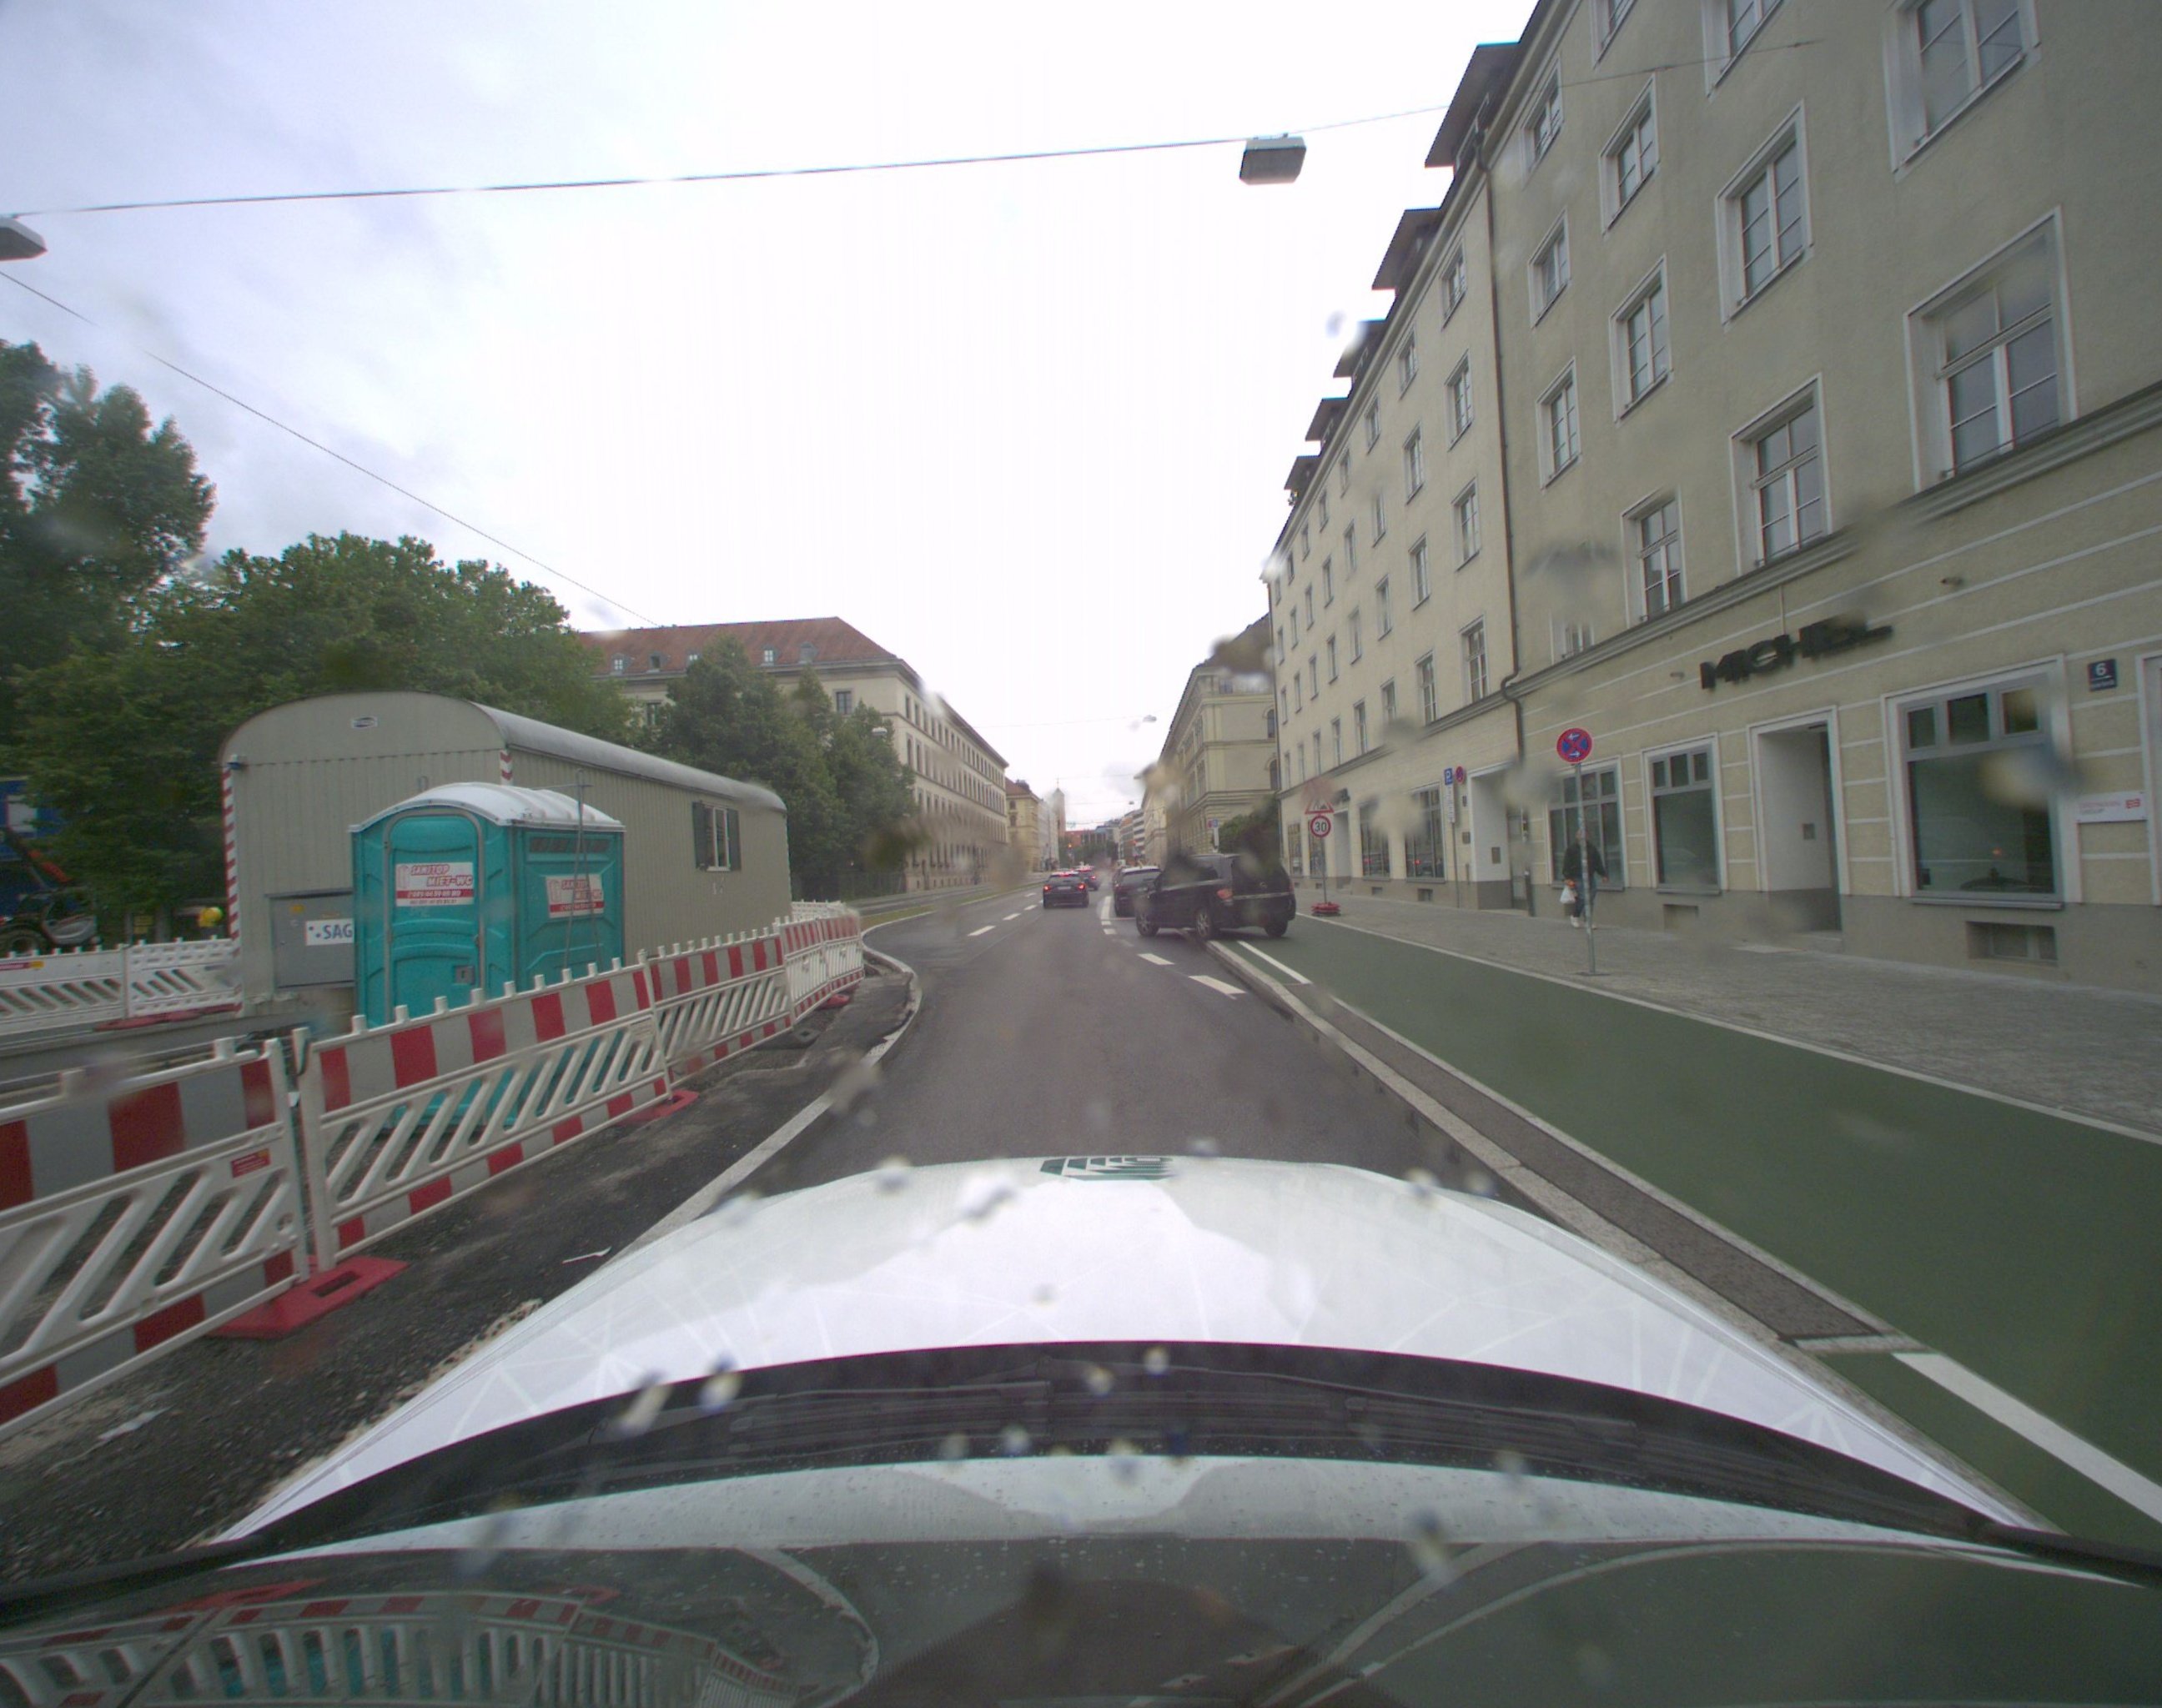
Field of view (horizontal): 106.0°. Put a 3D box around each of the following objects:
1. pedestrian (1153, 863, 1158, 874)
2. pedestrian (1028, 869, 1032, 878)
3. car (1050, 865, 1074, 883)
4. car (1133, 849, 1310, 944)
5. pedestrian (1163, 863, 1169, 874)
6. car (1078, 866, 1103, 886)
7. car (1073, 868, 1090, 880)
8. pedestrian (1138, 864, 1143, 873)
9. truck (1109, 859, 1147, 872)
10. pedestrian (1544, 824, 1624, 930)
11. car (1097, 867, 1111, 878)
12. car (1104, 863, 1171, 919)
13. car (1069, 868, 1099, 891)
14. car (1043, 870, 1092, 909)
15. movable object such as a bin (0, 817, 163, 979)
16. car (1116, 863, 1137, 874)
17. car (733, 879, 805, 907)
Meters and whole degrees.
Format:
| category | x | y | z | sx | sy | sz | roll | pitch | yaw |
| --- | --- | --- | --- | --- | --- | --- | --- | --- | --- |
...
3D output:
| category | x | y | z | sx | sy | sz | roll | pitch | yaw |
| --- | --- | --- | --- | --- | --- | --- | --- | --- | --- |
| pedestrian | 11.400 | 2.277 | 125.148 | 0.707 | 1.618 | 0.754 | -3 | -1 | 2 |
| pedestrian | -10.504 | 4.078 | 167.420 | 0.653 | 1.805 | 0.727 | -3 | -1 | 2 |
| car | -1.865 | 1.962 | 80.601 | 1.985 | 1.627 | 4.003 | -3 | -1 | 3 |
| car | 2.665 | 0.790 | 16.491 | 1.770 | 1.616 | 4.002 | -1 | -1 | -20 |
| pedestrian | 12.555 | 2.103 | 120.433 | 0.707 | 1.618 | 0.754 | -3 | -1 | 2 |
| car | 0.753 | 1.656 | 61.961 | 1.723 | 1.461 | 4.002 | -1 | -1 | 2 |
| car | 0.080 | 2.594 | 108.255 | 1.985 | 1.444 | 4.003 | -3 | -1 | 3 |
| pedestrian | 10.400 | 2.496 | 142.546 | 0.747 | 1.618 | 0.714 | -3 | -1 | 10 |
| truck | 9.341 | 2.276 | 160.115 | 7.352 | 2.253 | 2.182 | -1 | -2 | 4 |
| pedestrian | 8.751 | 0.395 | 14.206 | 0.790 | 1.745 | 0.834 | -3 | -1 | 2 |
| car | 3.428 | 2.682 | 120.269 | 1.985 | 1.444 | 4.003 | -3 | -1 | 3 |
| car | 1.749 | 1.138 | 26.517 | 1.802 | 1.480 | 4.462 | -7 | -1 | 1 |
| car | 0.233 | 1.624 | 53.212 | 1.723 | 1.403 | 4.002 | -1 | -1 | 2 |
| car | -0.478 | 1.375 | 32.928 | 1.723 | 1.403 | 4.002 | -1 | -1 | 2 |
| movable object such as a bin | -27.621 | 1.144 | 20.795 | 2.456 | 3.962 | 5.067 | -3 | -1 | 1 |
| car | 8.211 | 2.619 | 145.835 | 1.974 | 1.750 | 4.025 | -4 | -1 | 32 |
| car | -21.829 | 2.709 | 57.043 | 4.245 | 1.649 | 1.805 | -3 | -1 | 2 |
